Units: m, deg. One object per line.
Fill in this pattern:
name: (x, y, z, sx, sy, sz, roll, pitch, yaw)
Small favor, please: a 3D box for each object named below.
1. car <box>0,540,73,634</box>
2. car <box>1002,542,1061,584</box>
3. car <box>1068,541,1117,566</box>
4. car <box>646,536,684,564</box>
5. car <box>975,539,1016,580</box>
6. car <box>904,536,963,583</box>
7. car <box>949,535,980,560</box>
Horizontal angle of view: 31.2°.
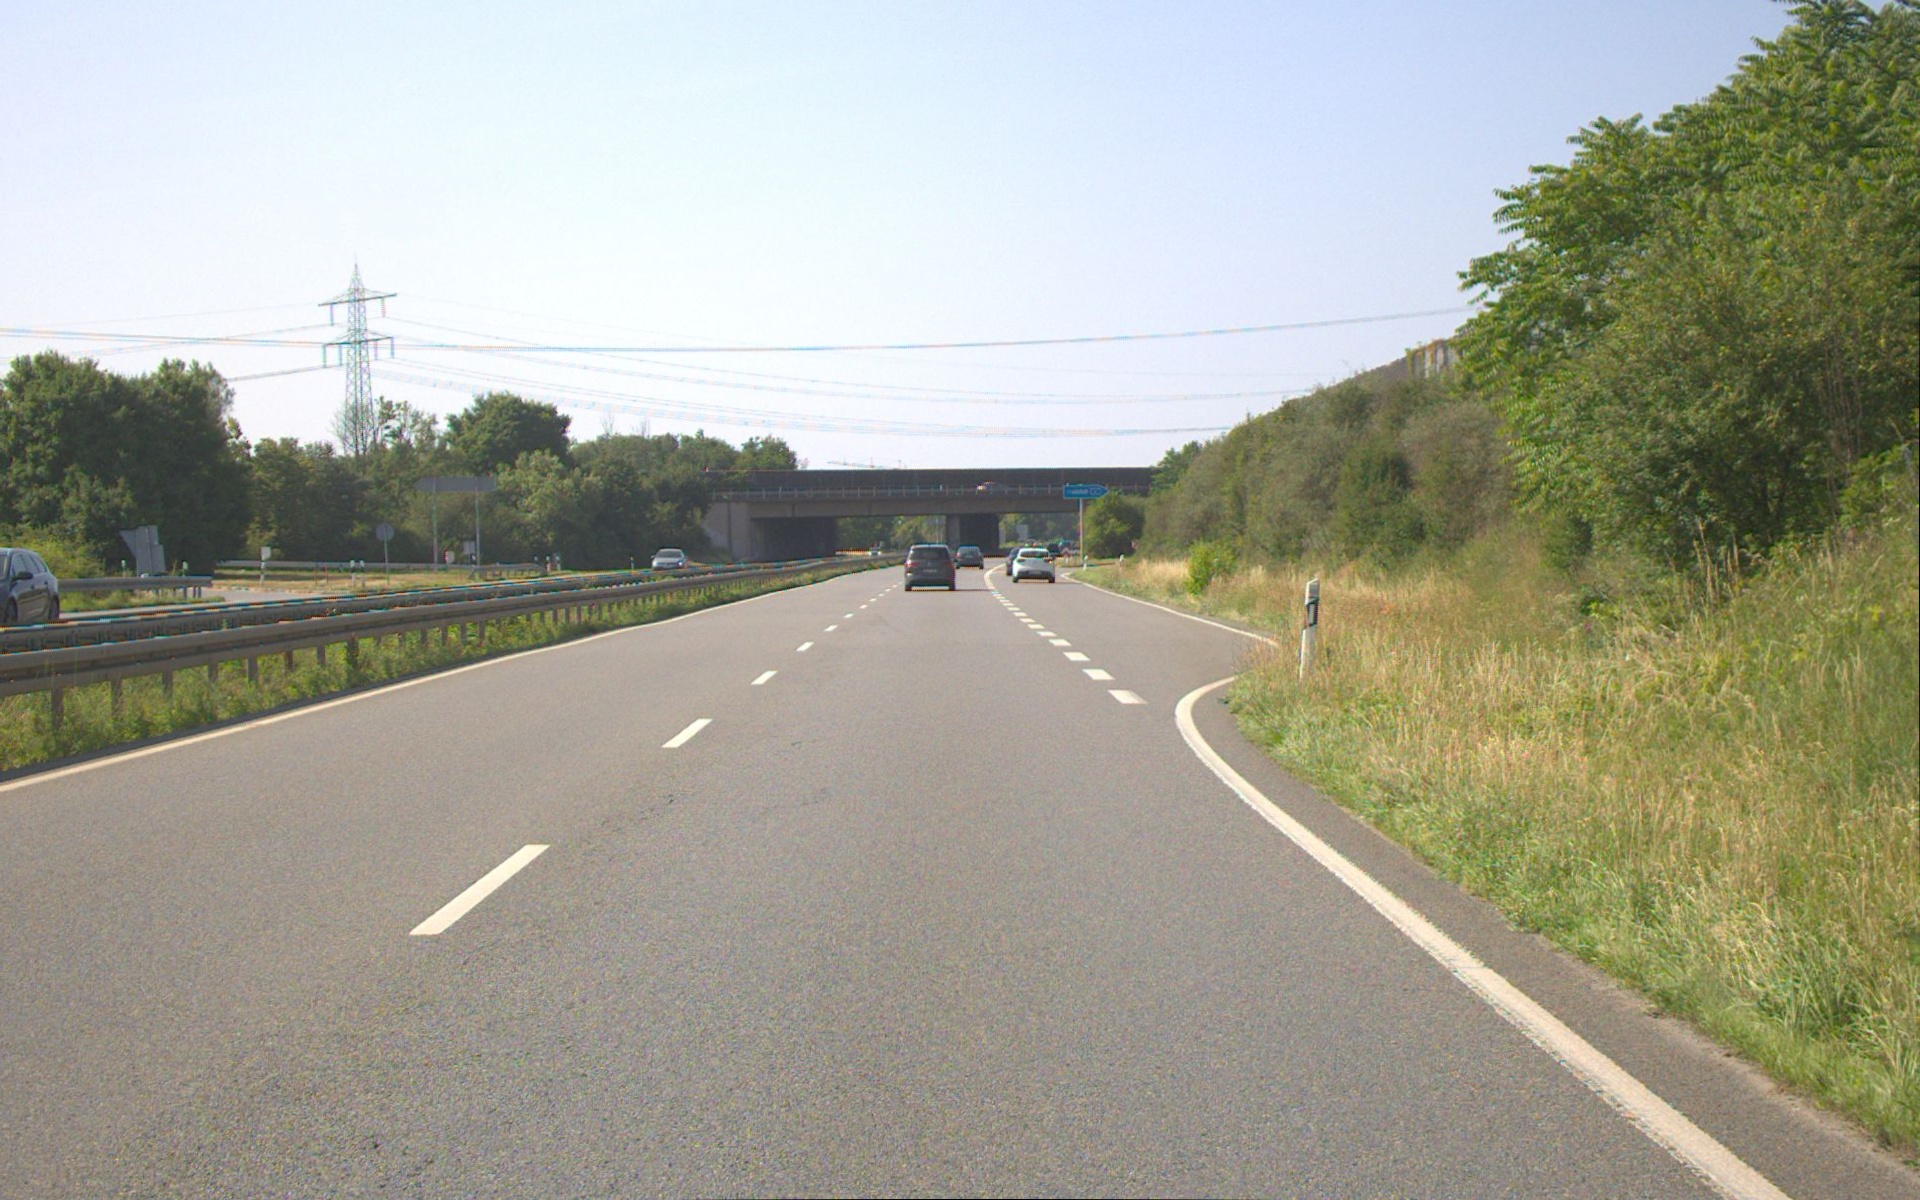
car: (-15.932, -0.252, 55.819, 1.867, 1.429, 4.935, 2, 1, -2)
car: (2.998, -1.578, 143.728, 1.797, 1.659, 3.998, 2, 1, 11)
car: (7.283, -2.558, 188.348, 1.903, 1.293, 3.998, 2, 1, 13)
car: (-16.473, -2.813, 192.018, 1.700, 1.480, 4.620, 2, 1, -1)
car: (1.814, -2.126, 177.633, 1.993, 2.007, 4.000, -2, 1, 0)
car: (-0.913, -1.432, 121.313, 1.850, 1.639, 4.000, 0, 1, 3)
car: (0.302, -3.377, 221.857, 1.850, 1.639, 4.000, 0, 1, 3)
